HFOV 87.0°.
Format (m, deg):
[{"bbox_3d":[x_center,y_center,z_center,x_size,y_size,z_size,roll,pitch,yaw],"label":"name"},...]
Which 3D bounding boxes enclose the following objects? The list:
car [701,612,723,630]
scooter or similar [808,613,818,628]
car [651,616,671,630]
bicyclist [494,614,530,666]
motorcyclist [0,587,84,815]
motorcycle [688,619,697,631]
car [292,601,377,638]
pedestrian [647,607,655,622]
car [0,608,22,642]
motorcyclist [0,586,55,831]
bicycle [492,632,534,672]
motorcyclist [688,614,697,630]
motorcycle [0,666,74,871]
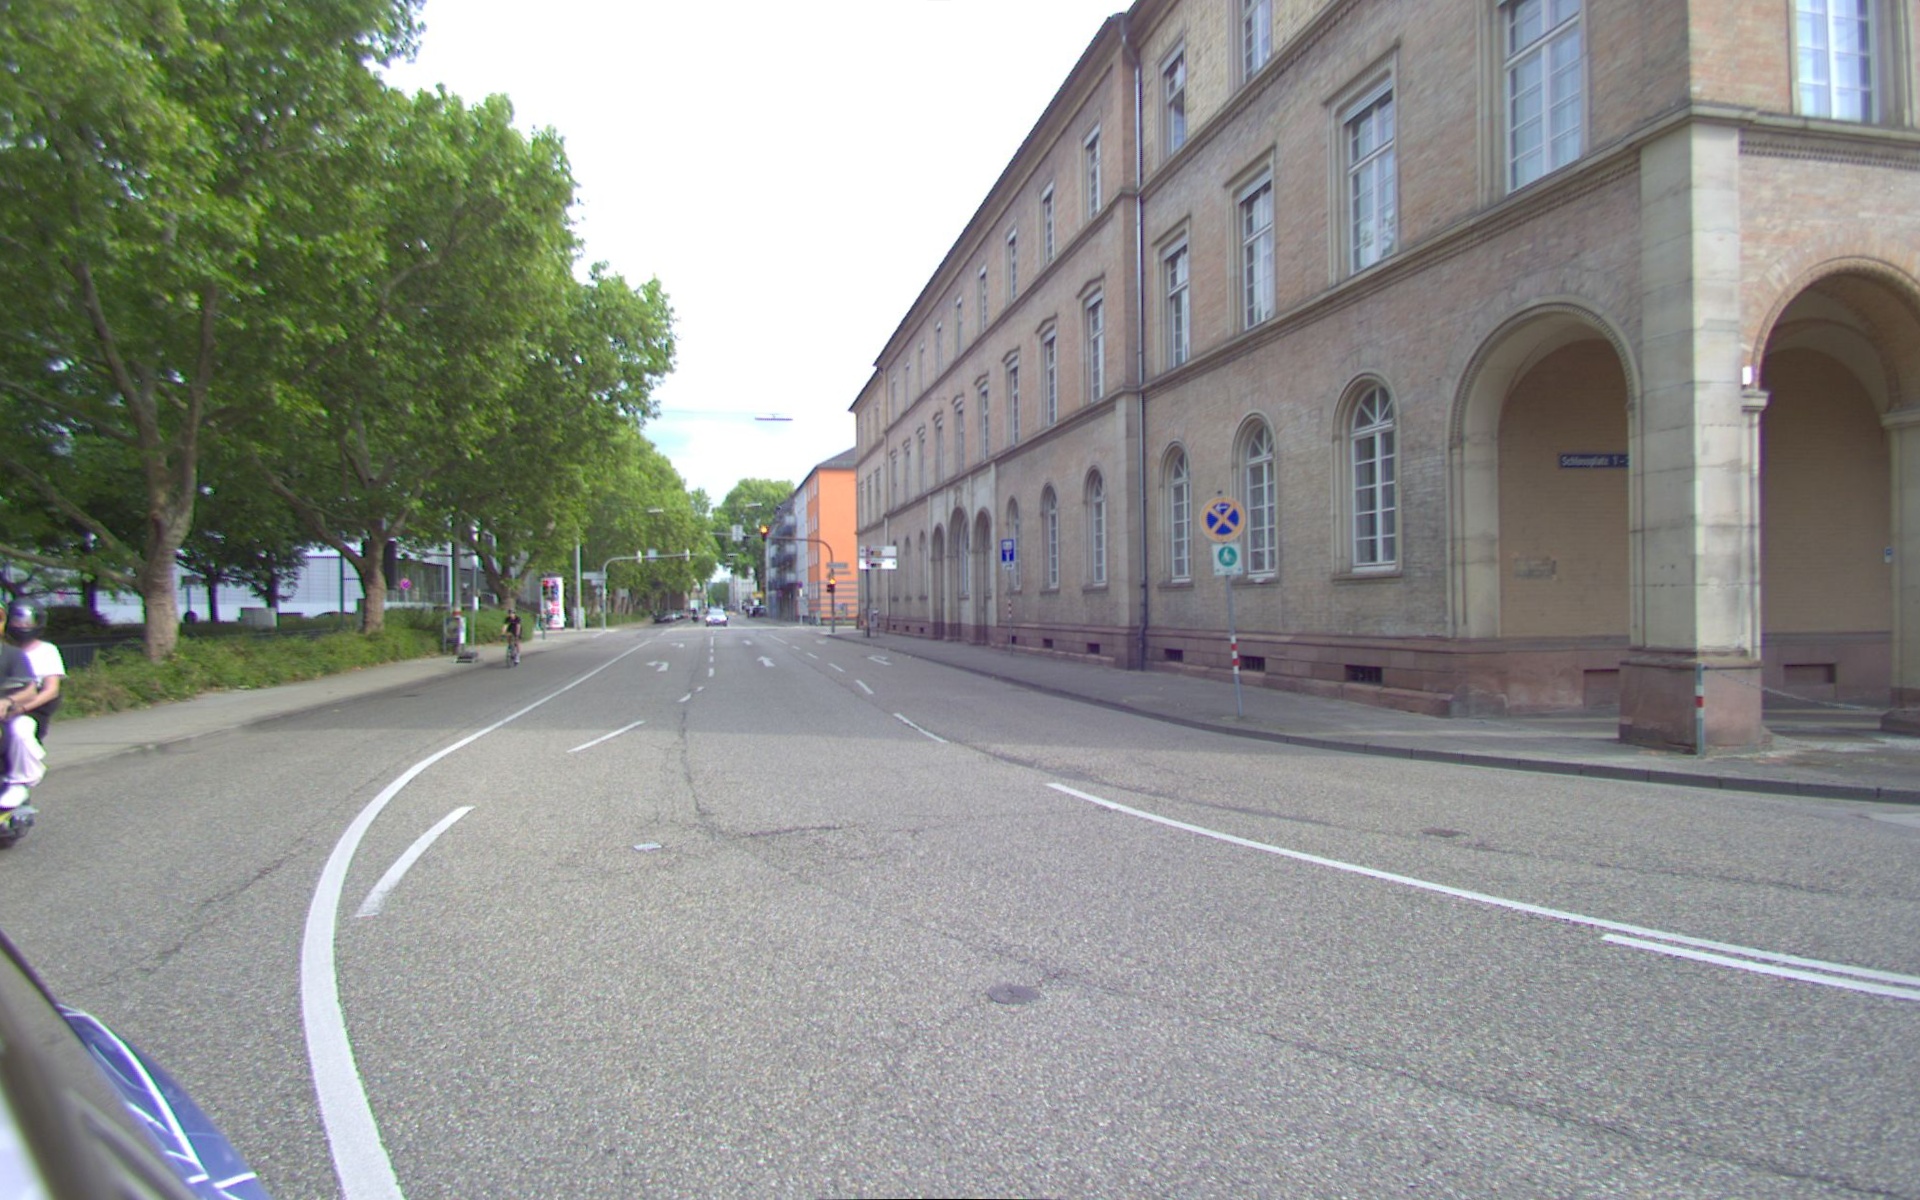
[{"bbox_3d":[-20.434,1.745,83.274,1.646,1.449,3.830,-1,-1,-15],"label":"car"},{"bbox_3d":[-11.251,1.571,77.503,0.324,1.166,1.358,-2,-1,-27],"label":"scooter or similar"},{"bbox_3d":[-36.075,2.776,122.263,1.967,1.553,4.282,-3,0,-12],"label":"car"},{"bbox_3d":[-13.042,1.158,29.479,0.772,1.458,0.916,-2,-1,-15],"label":"bicyclist"},{"bbox_3d":[-6.381,0.651,6.659,0.768,1.438,0.691,-1,-2,-24],"label":"motorcyclist"},{"bbox_3d":[-28.967,2.731,109.541,0.769,1.187,1.998,-2,-1,-17],"label":"motorcycle"},{"bbox_3d":[-37.410,1.162,60.616,3.931,2.029,2.006,-3,0,-19],"label":"car"},{"bbox_3d":[-42.825,2.061,140.260,0.988,2.029,1.000,-2,-1,-12],"label":"pedestrian"},{"bbox_3d":[-56.231,1.513,57.434,3.931,1.874,2.006,-2,0,-23],"label":"car"},{"bbox_3d":[-6.130,0.653,6.134,0.768,1.438,0.766,-1,-2,-24],"label":"motorcyclist"},{"bbox_3d":[-13.025,1.495,29.548,0.758,1.022,2.414,-3,0,-15],"label":"bicycle"},{"bbox_3d":[-28.983,2.350,109.568,0.769,1.673,1.116,-2,-1,-17],"label":"motorcyclist"},{"bbox_3d":[-6.104,1.024,5.975,0.768,1.187,1.999,-1,-2,-24],"label":"motorcycle"}]
